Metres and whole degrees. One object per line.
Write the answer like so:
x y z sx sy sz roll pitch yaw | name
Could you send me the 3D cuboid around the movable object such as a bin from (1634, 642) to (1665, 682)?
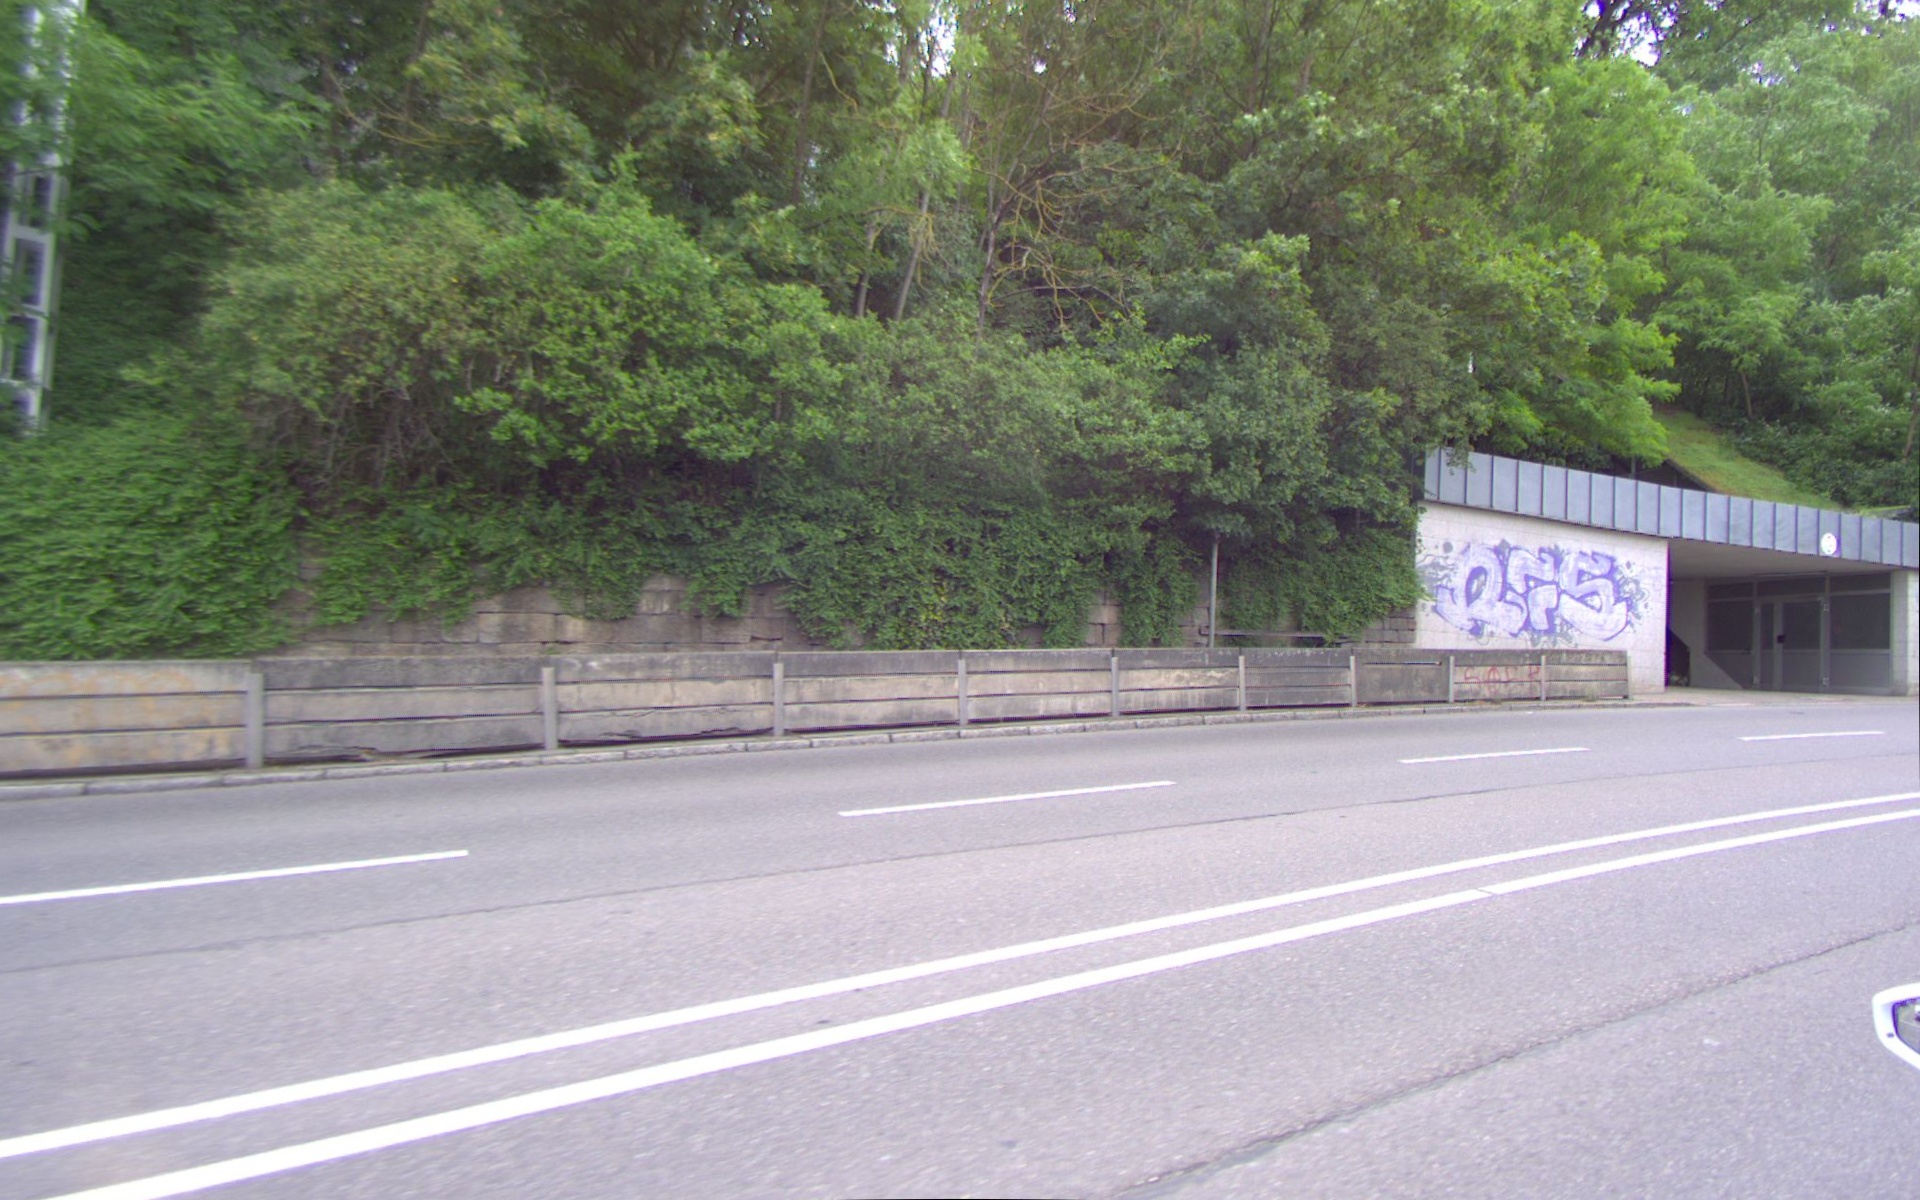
18.323 1.646 26.689 0.489 1.010 0.428 2 1 -6 | movable object such as a bin
